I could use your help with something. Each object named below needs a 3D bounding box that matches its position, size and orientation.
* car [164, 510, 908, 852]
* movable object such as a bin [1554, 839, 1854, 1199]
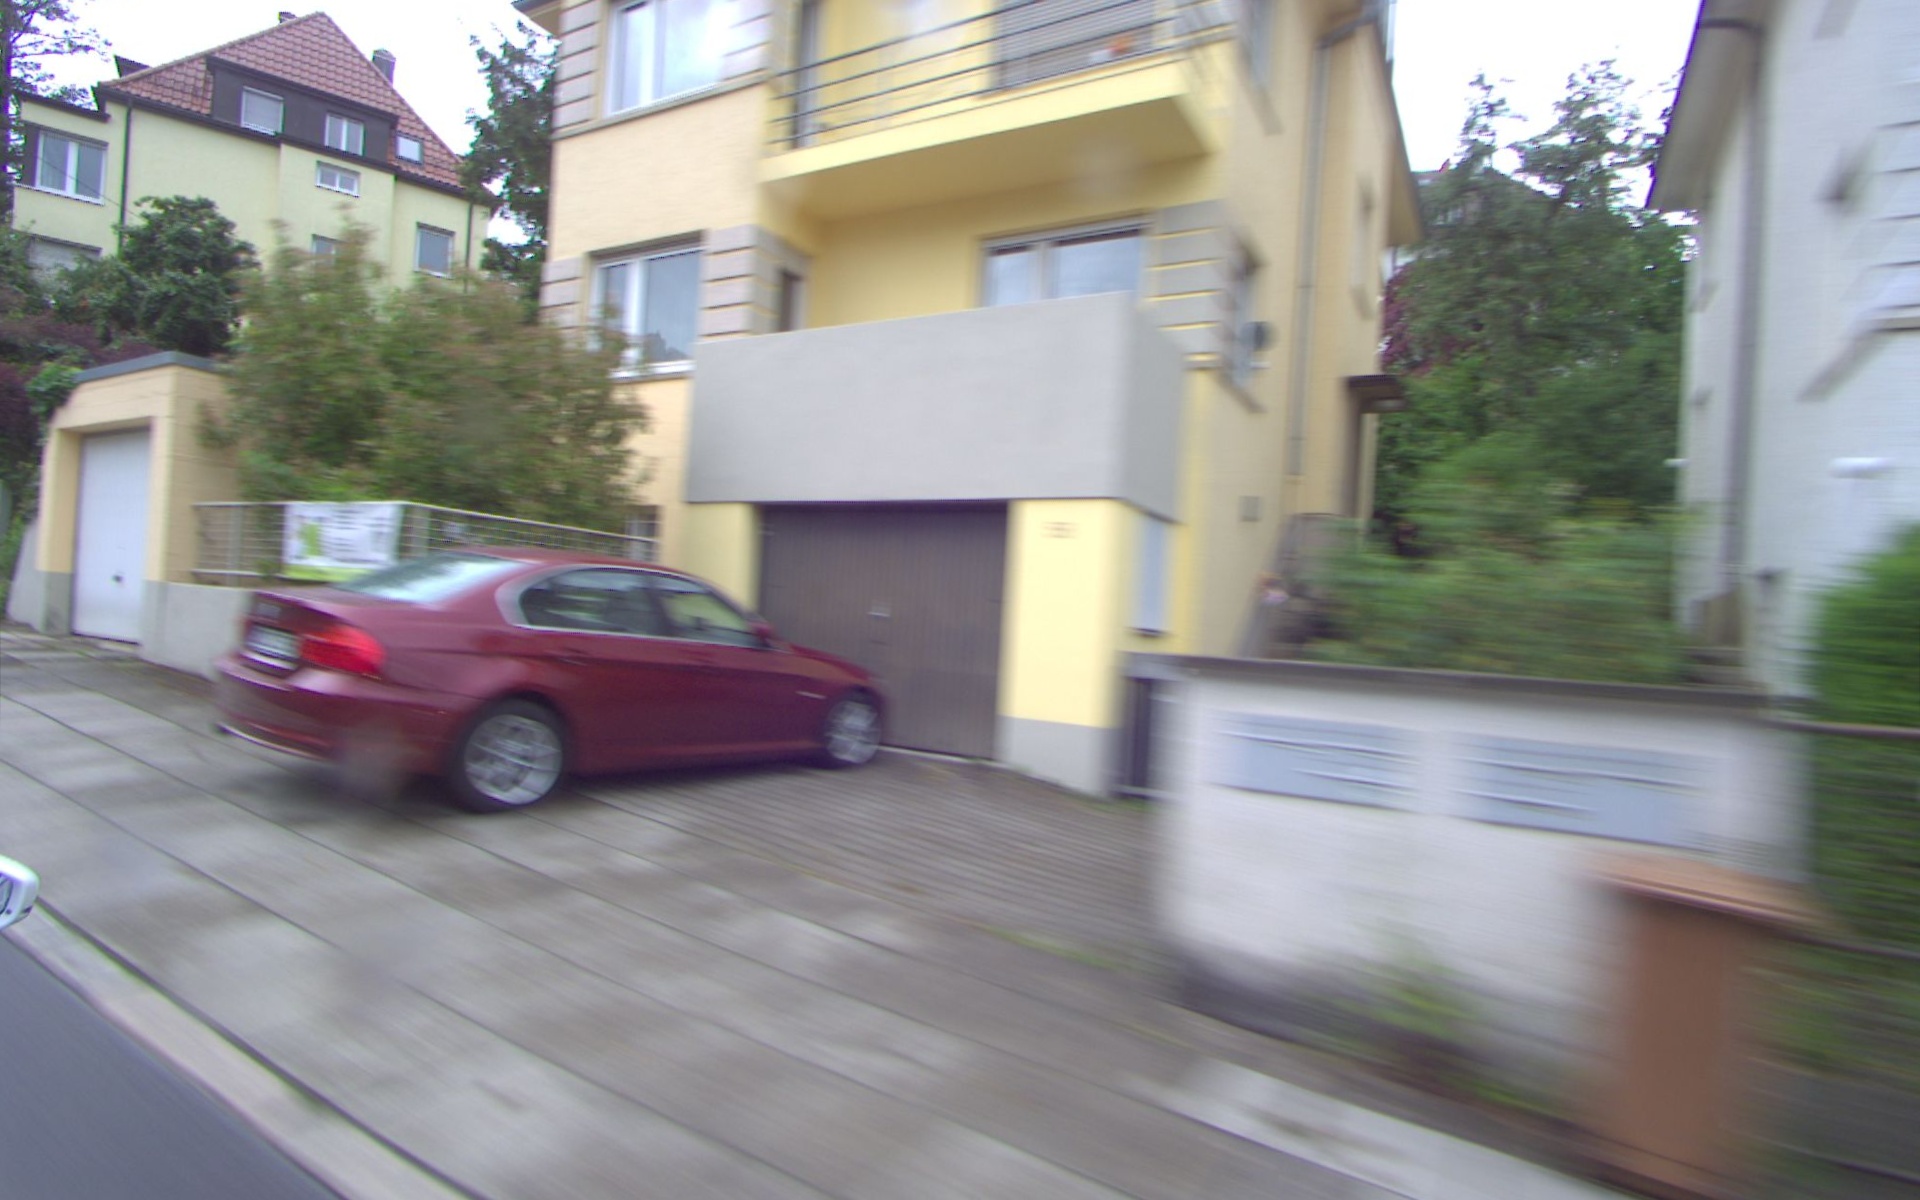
[{"bbox_3d":[-2.381,0.398,6.674,1.805,1.425,4.168,8,2,34],"label":"car"},{"bbox_3d":[2.069,1.227,2.873,0.517,0.911,0.570,7,0,28],"label":"movable object such as a bin"}]
